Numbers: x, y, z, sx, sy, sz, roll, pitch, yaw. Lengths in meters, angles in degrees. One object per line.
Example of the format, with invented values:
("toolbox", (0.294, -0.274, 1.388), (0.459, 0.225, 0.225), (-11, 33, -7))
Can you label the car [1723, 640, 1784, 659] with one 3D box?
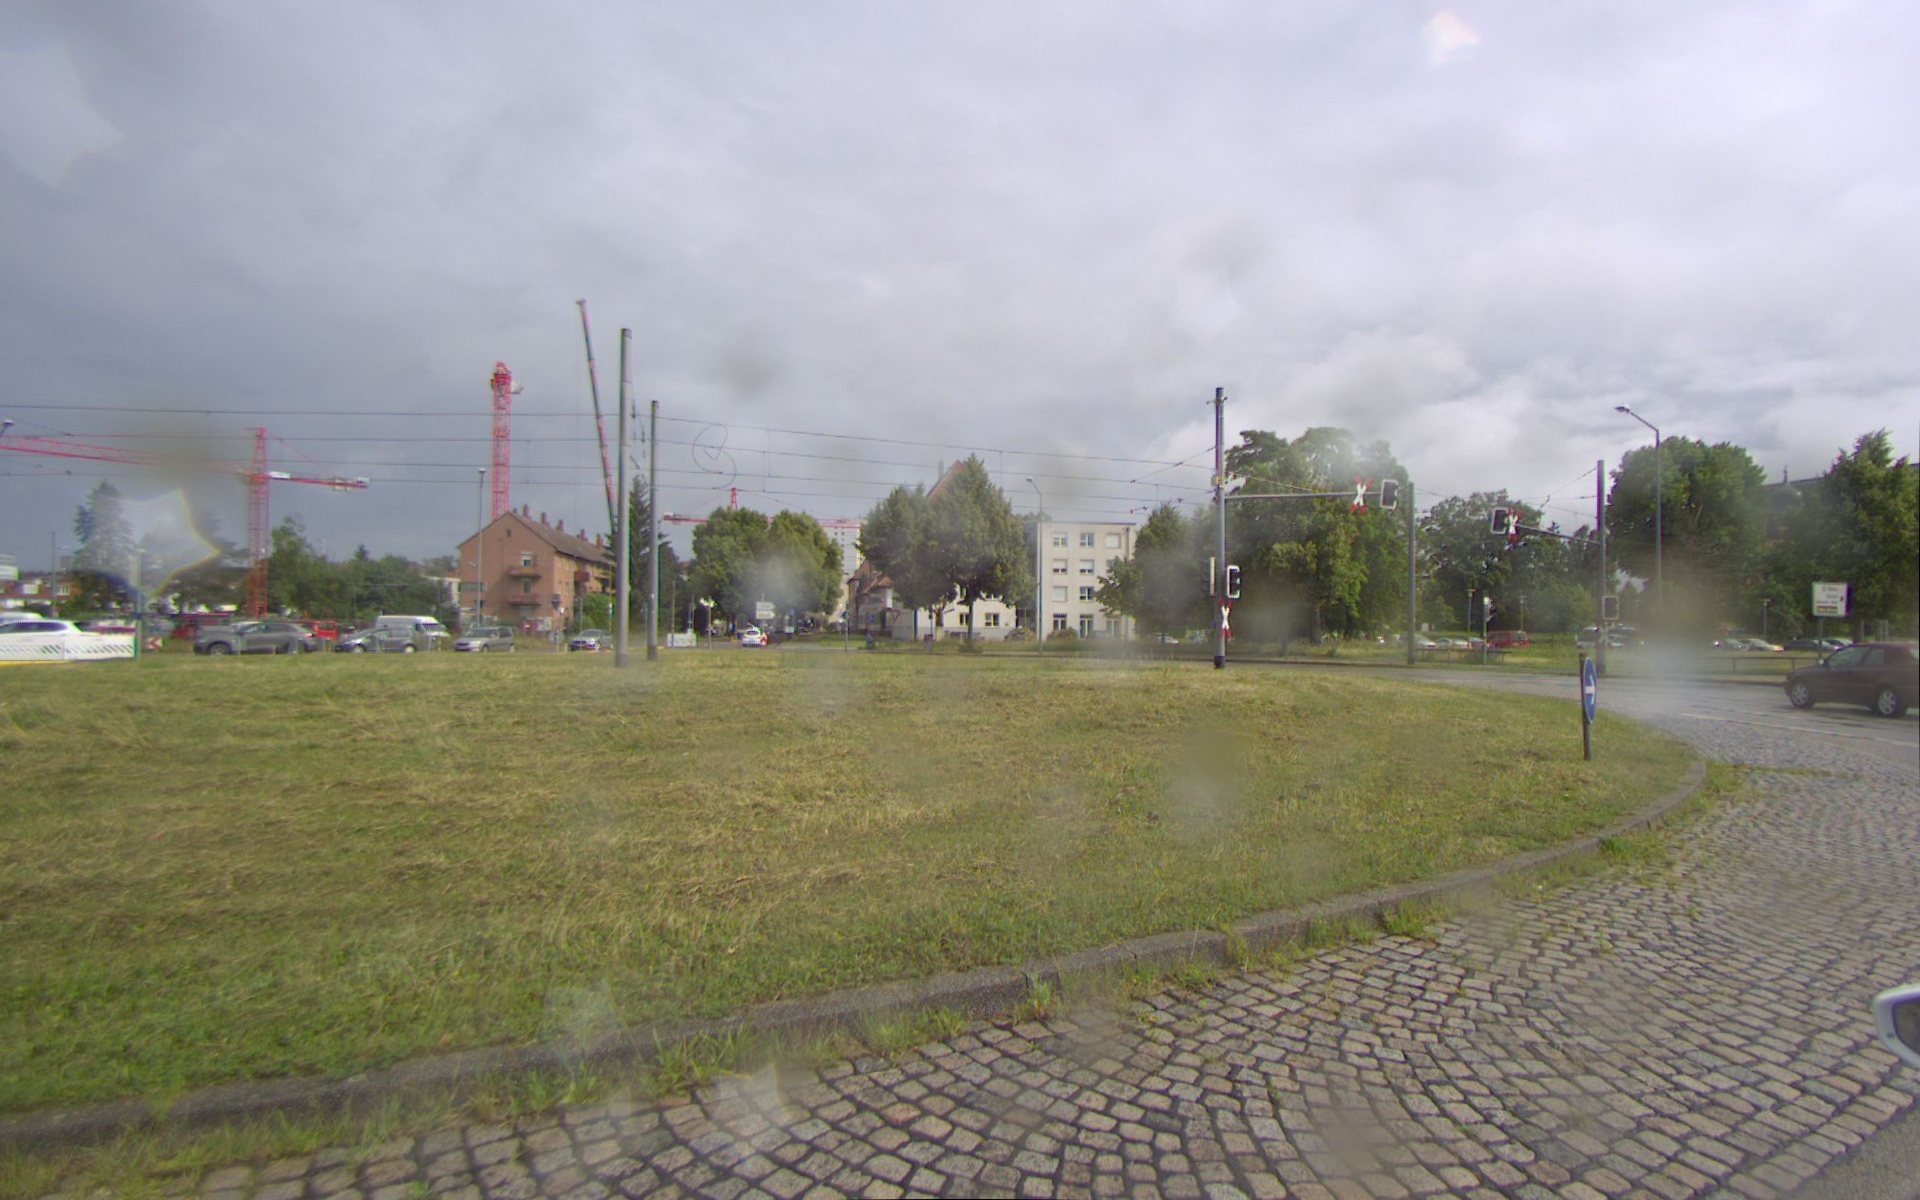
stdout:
("car", (68.928, 4.266, 87.330), (1.817, 1.580, 3.973), (1, -2, -9))

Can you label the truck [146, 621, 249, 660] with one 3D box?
("truck", (-50.416, 2.648, 66.419), (5.980, 2.241, 2.398), (2, -1, 19))

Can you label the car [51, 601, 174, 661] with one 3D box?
("car", (-38.496, 1.420, 45.768), (3.953, 2.601, 1.783), (1, -2, -30))

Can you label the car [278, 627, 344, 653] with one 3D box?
("car", (-48.038, 2.921, 74.348), (3.919, 1.722, 1.931), (2, -1, 14))

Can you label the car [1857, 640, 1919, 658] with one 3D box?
("car", (82.860, 4.343, 89.650), (1.817, 1.580, 3.973), (1, -2, -9))

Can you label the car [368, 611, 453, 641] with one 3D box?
("car", (-43.921, 2.069, 80.306), (6.139, 2.112, 2.044), (2, -1, 15))

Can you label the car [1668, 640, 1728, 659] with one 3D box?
("car", (63.575, 4.244, 86.600), (1.817, 1.580, 3.973), (1, -2, -9))

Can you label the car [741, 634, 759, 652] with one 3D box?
("car", (-18.103, 3.710, 86.509), (1.523, 1.473, 3.492), (0, -1, -12))

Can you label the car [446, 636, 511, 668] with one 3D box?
("car", (-26.002, 2.777, 54.377), (1.519, 1.581, 3.502), (1, -1, 6))

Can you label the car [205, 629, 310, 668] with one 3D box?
("car", (-30.168, 2.064, 43.250), (3.640, 1.581, 1.559), (1, -1, -34))

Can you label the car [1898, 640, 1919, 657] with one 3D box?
("car", (87.377, 4.377, 90.458), (1.817, 1.580, 3.973), (1, -2, -9))

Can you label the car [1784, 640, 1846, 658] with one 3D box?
("car", (75.443, 4.317, 88.711), (1.817, 1.580, 3.973), (1, -2, -9))

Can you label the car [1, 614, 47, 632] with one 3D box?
("car", (-93.685, 2.278, 100.567), (3.527, 1.745, 1.501), (0, -1, 8))

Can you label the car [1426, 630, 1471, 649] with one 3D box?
("car", (39.945, 3.214, 82.231), (1.614, 1.481, 3.607), (1, -2, -7))

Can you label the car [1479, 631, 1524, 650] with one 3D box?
("car", (44.824, 3.308, 83.195), (1.618, 1.530, 3.648), (0, -2, -4))

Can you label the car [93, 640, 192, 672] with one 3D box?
("car", (-46.073, 3.127, 56.687), (3.949, 1.706, 1.986), (1, -1, -27))

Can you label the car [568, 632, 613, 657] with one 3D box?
("car", (-24.835, 2.950, 67.539), (1.568, 1.581, 3.551), (1, -1, 2))

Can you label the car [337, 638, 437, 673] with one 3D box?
("car", (-28.664, 2.744, 50.369), (1.769, 1.606, 3.985), (0, -1, 37))

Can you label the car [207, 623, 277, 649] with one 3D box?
("car", (-51.925, 2.614, 72.676), (3.919, 1.722, 1.859), (2, -2, 10))

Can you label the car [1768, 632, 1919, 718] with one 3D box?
("car", (18.497, 1.427, 20.189), (1.685, 1.482, 4.002), (0, -1, 8))

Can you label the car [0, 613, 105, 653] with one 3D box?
("car", (-36.395, 1.316, 39.850), (3.447, 1.530, 1.493), (1, -1, -20))
